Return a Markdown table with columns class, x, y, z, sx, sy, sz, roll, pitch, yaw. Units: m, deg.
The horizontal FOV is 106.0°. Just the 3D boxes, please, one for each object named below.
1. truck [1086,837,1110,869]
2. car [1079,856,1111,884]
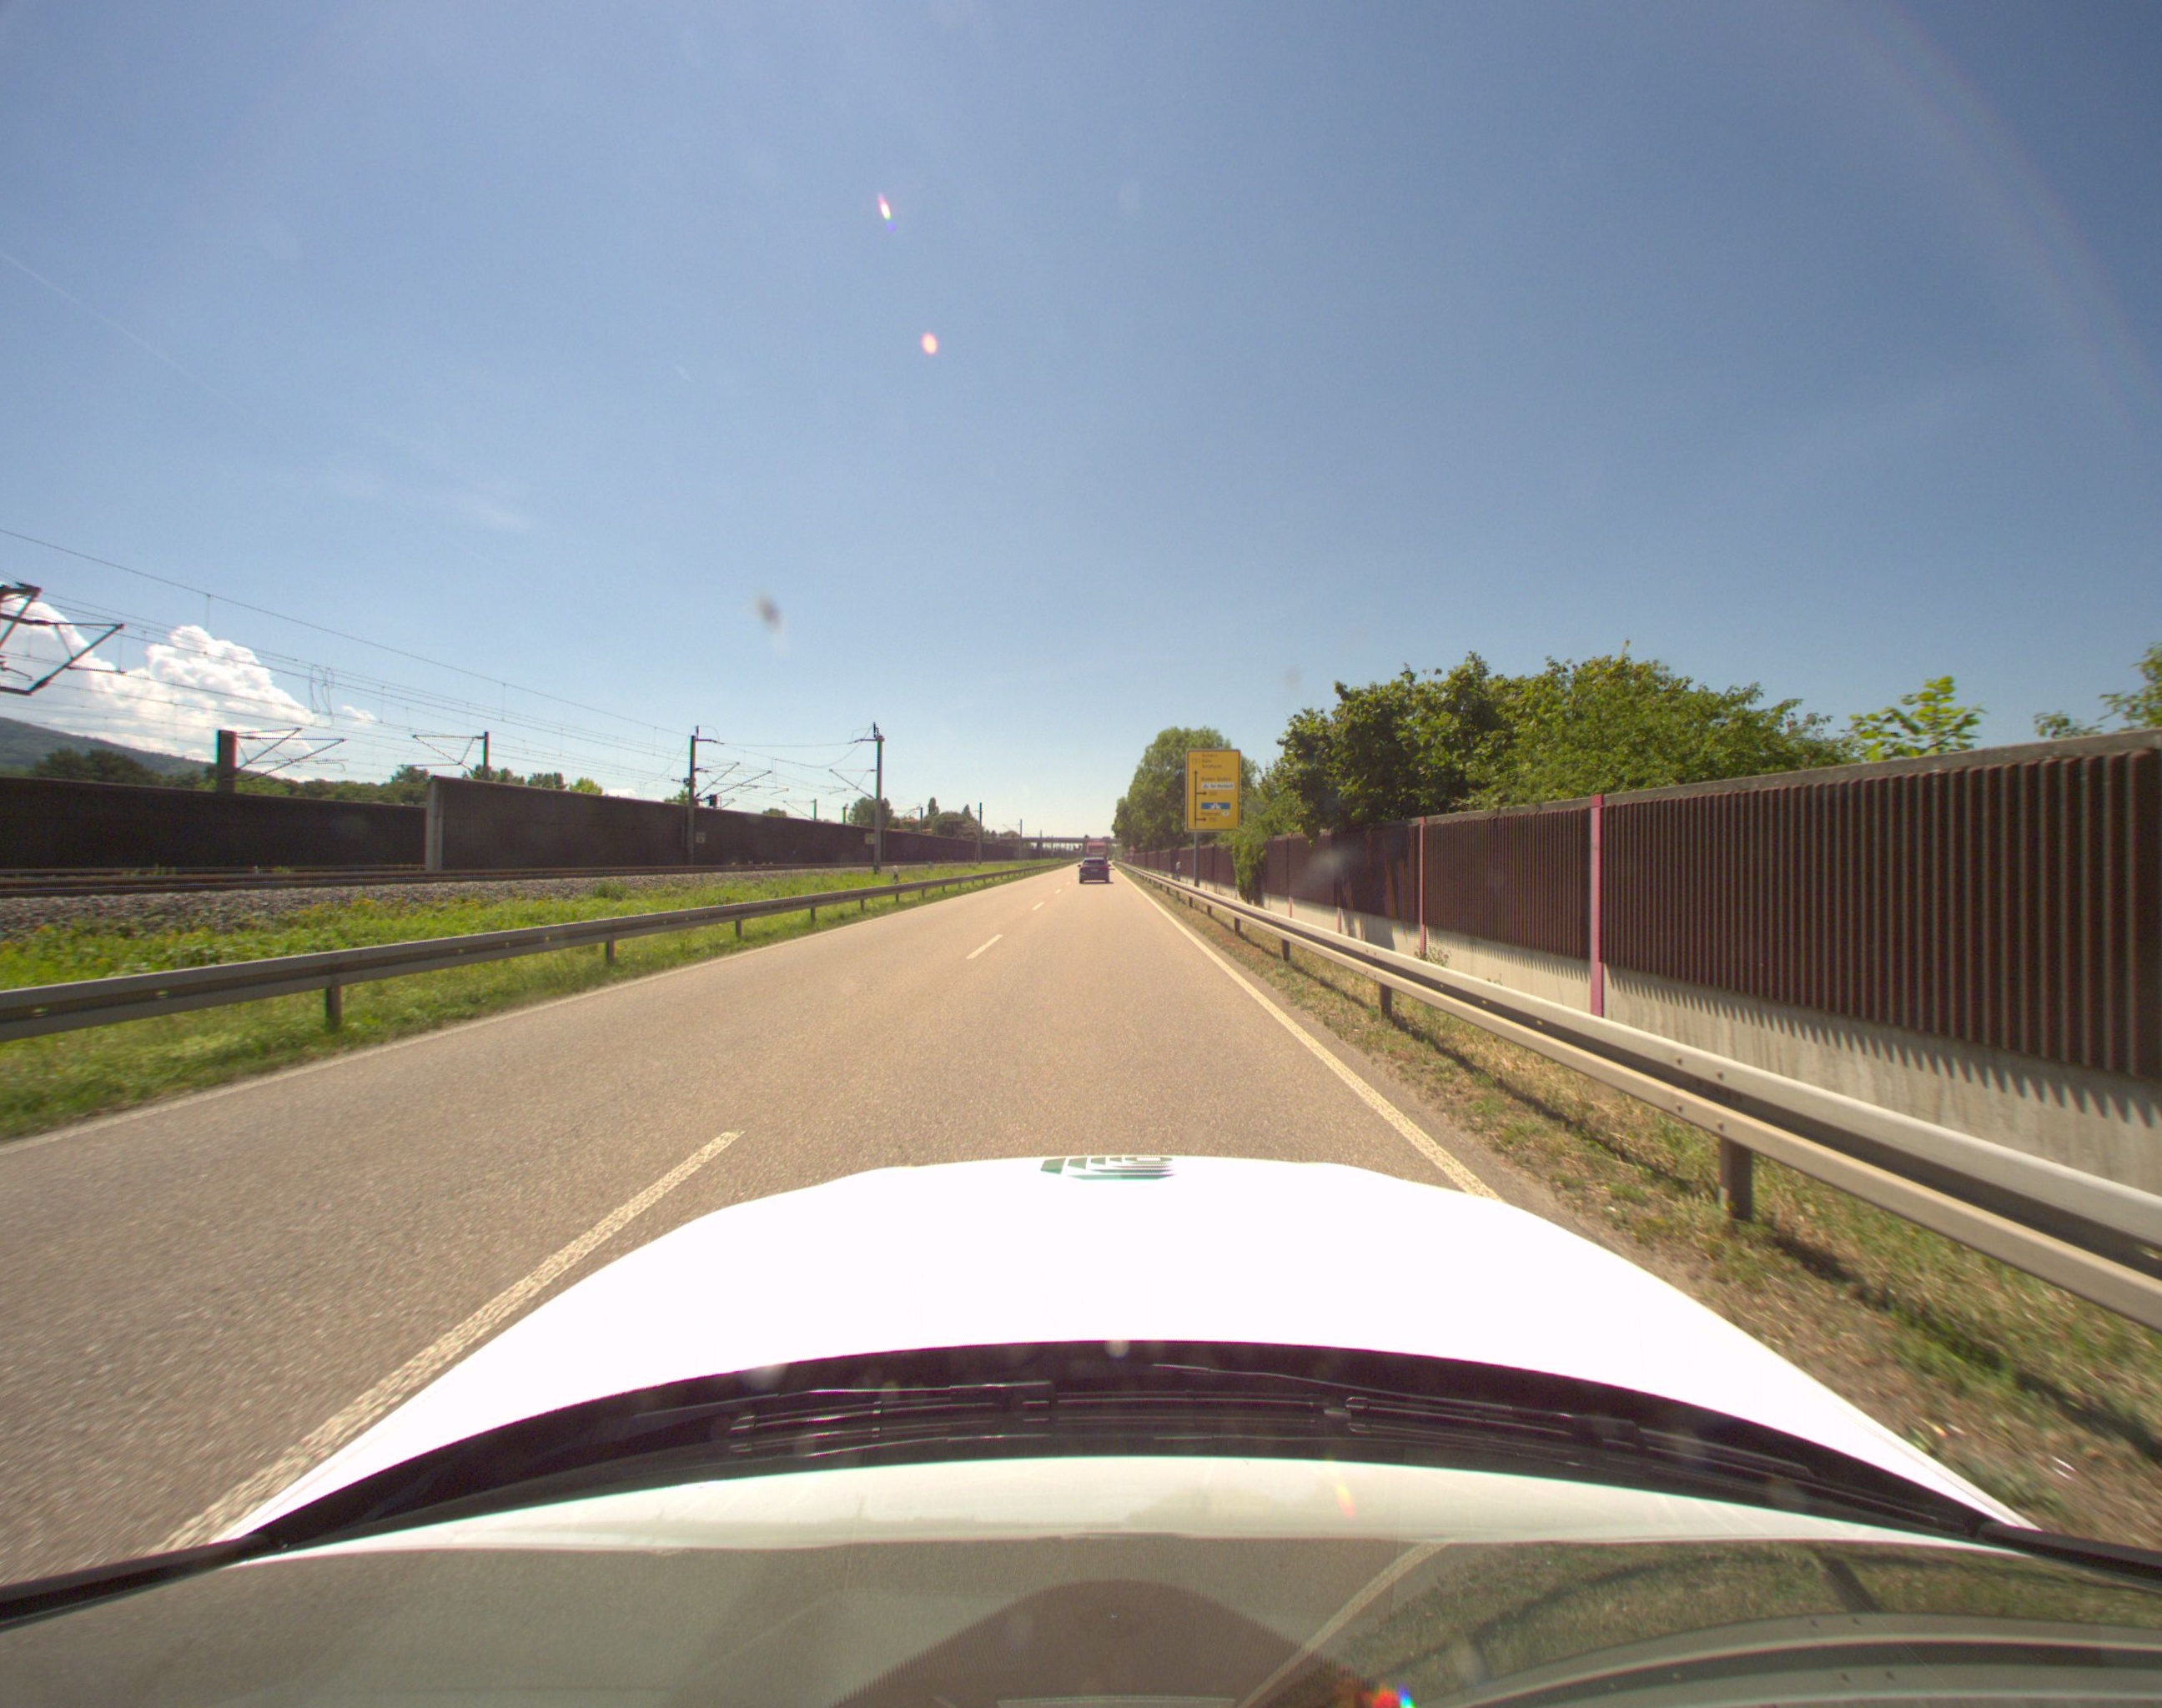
| class | x | y | z | sx | sy | sz | roll | pitch | yaw |
| --- | --- | --- | --- | --- | --- | --- | --- | --- | --- |
| truck | 2.152 | -0.040 | 103.322 | 2.823 | 3.821 | 11.887 | -1 | 0 | 1 |
| car | 0.819 | 0.936 | 49.784 | 1.839 | 1.623 | 4.225 | -1 | 0 | 0 |
